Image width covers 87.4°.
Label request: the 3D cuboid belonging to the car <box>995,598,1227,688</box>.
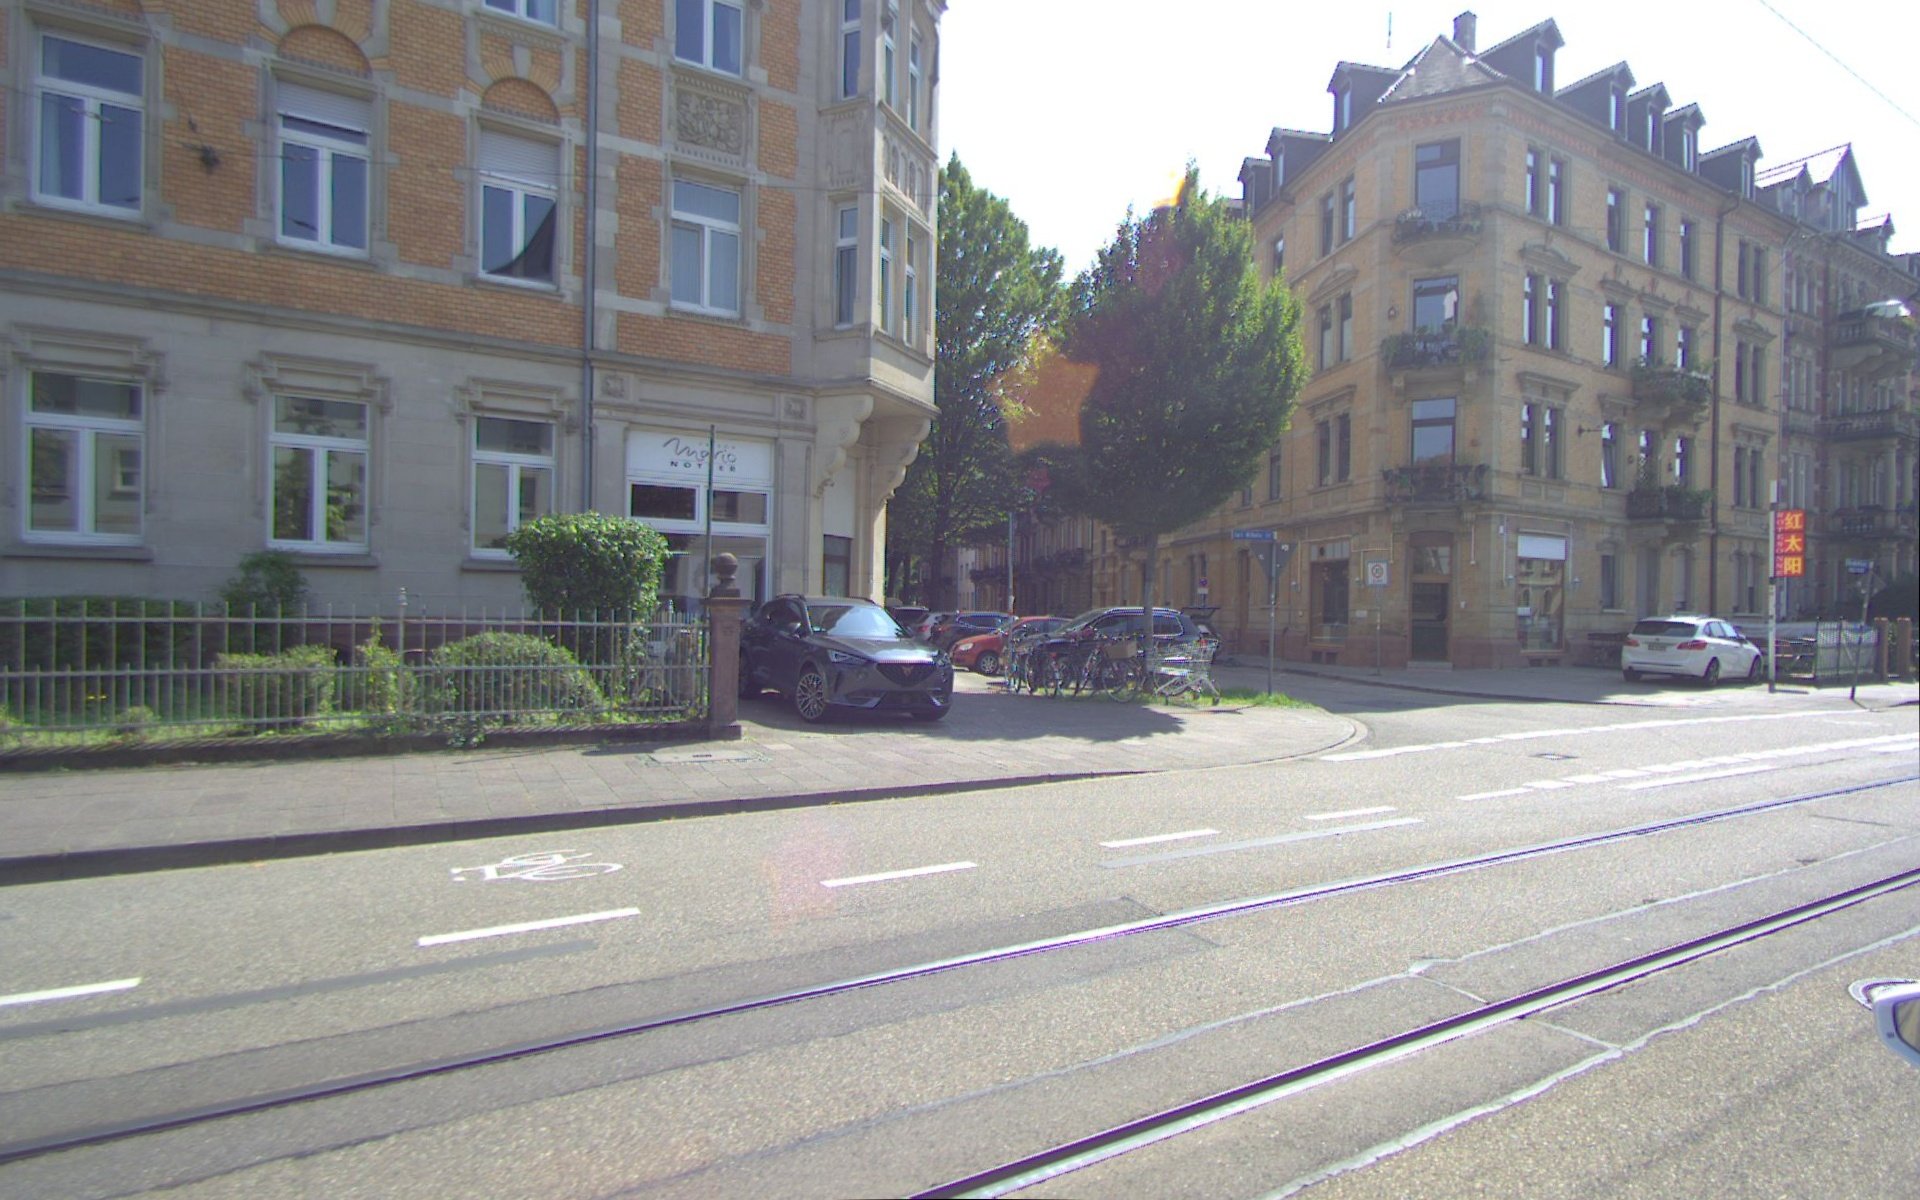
[{"bbox_3d":[3.009,0.864,20.520,4.281,1.711,1.997,1,-1,-10],"label":"car"}]

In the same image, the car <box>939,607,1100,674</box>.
[{"bbox_3d":[1.468,1.006,25.407,3.692,1.496,1.846,2,-1,-11],"label":"car"}]

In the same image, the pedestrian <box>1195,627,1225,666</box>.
[{"bbox_3d":[8.192,1.523,32.932,0.786,1.243,0.583,2,-1,-5],"label":"pedestrian"}]

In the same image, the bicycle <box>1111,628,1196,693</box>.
[{"bbox_3d":[3.455,1.080,17.922,1.424,1.113,0.390,1,1,-5],"label":"bicycle"}]

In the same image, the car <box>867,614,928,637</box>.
[{"bbox_3d":[-4.297,1.749,69.072,3.931,1.364,1.789,2,-1,-11],"label":"car"}]

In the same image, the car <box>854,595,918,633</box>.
[{"bbox_3d":[-5.320,1.019,71.943,4.301,2.508,1.962,2,-1,-11],"label":"car"}]

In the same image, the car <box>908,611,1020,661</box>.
[{"bbox_3d":[0.107,1.246,35.312,3.690,1.563,1.790,2,-1,-9],"label":"car"}]

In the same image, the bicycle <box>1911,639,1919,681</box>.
[{"bbox_3d":[26.549,1.626,27.514,1.552,1.113,0.388,1,0,-33],"label":"bicycle"}]

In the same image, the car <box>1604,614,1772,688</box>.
[{"bbox_3d":[17.662,1.184,24.323,4.315,1.615,1.981,1,-1,-34],"label":"car"}]

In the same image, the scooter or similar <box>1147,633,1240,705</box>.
[{"bbox_3d":[3.816,1.108,16.444,1.368,1.113,0.595,1,1,-21],"label":"scooter or similar"}]

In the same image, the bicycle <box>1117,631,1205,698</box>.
[{"bbox_3d":[3.437,1.105,17.204,1.424,1.113,0.390,1,1,-5],"label":"bicycle"}]

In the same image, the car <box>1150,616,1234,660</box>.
[{"bbox_3d":[7.972,1.270,34.829,1.741,1.382,3.712,2,-1,-5],"label":"car"}]

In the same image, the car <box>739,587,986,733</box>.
[{"bbox_3d":[-1.480,0.674,13.528,1.856,1.615,4.084,1,0,-28],"label":"car"}]

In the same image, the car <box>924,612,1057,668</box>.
[{"bbox_3d":[0.876,1.185,30.036,3.690,1.496,1.790,2,-1,-9],"label":"car"}]

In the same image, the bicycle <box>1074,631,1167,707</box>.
[{"bbox_3d":[2.543,1.083,16.005,1.428,1.113,0.389,1,1,38],"label":"bicycle"}]

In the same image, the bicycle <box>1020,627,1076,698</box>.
[{"bbox_3d":[1.483,1.037,17.072,0.384,1.113,1.445,1,0,-19],"label":"bicycle"}]

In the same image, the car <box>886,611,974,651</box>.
[{"bbox_3d":[-1.516,1.539,49.921,4.114,1.816,1.789,2,-1,-11],"label":"car"}]
